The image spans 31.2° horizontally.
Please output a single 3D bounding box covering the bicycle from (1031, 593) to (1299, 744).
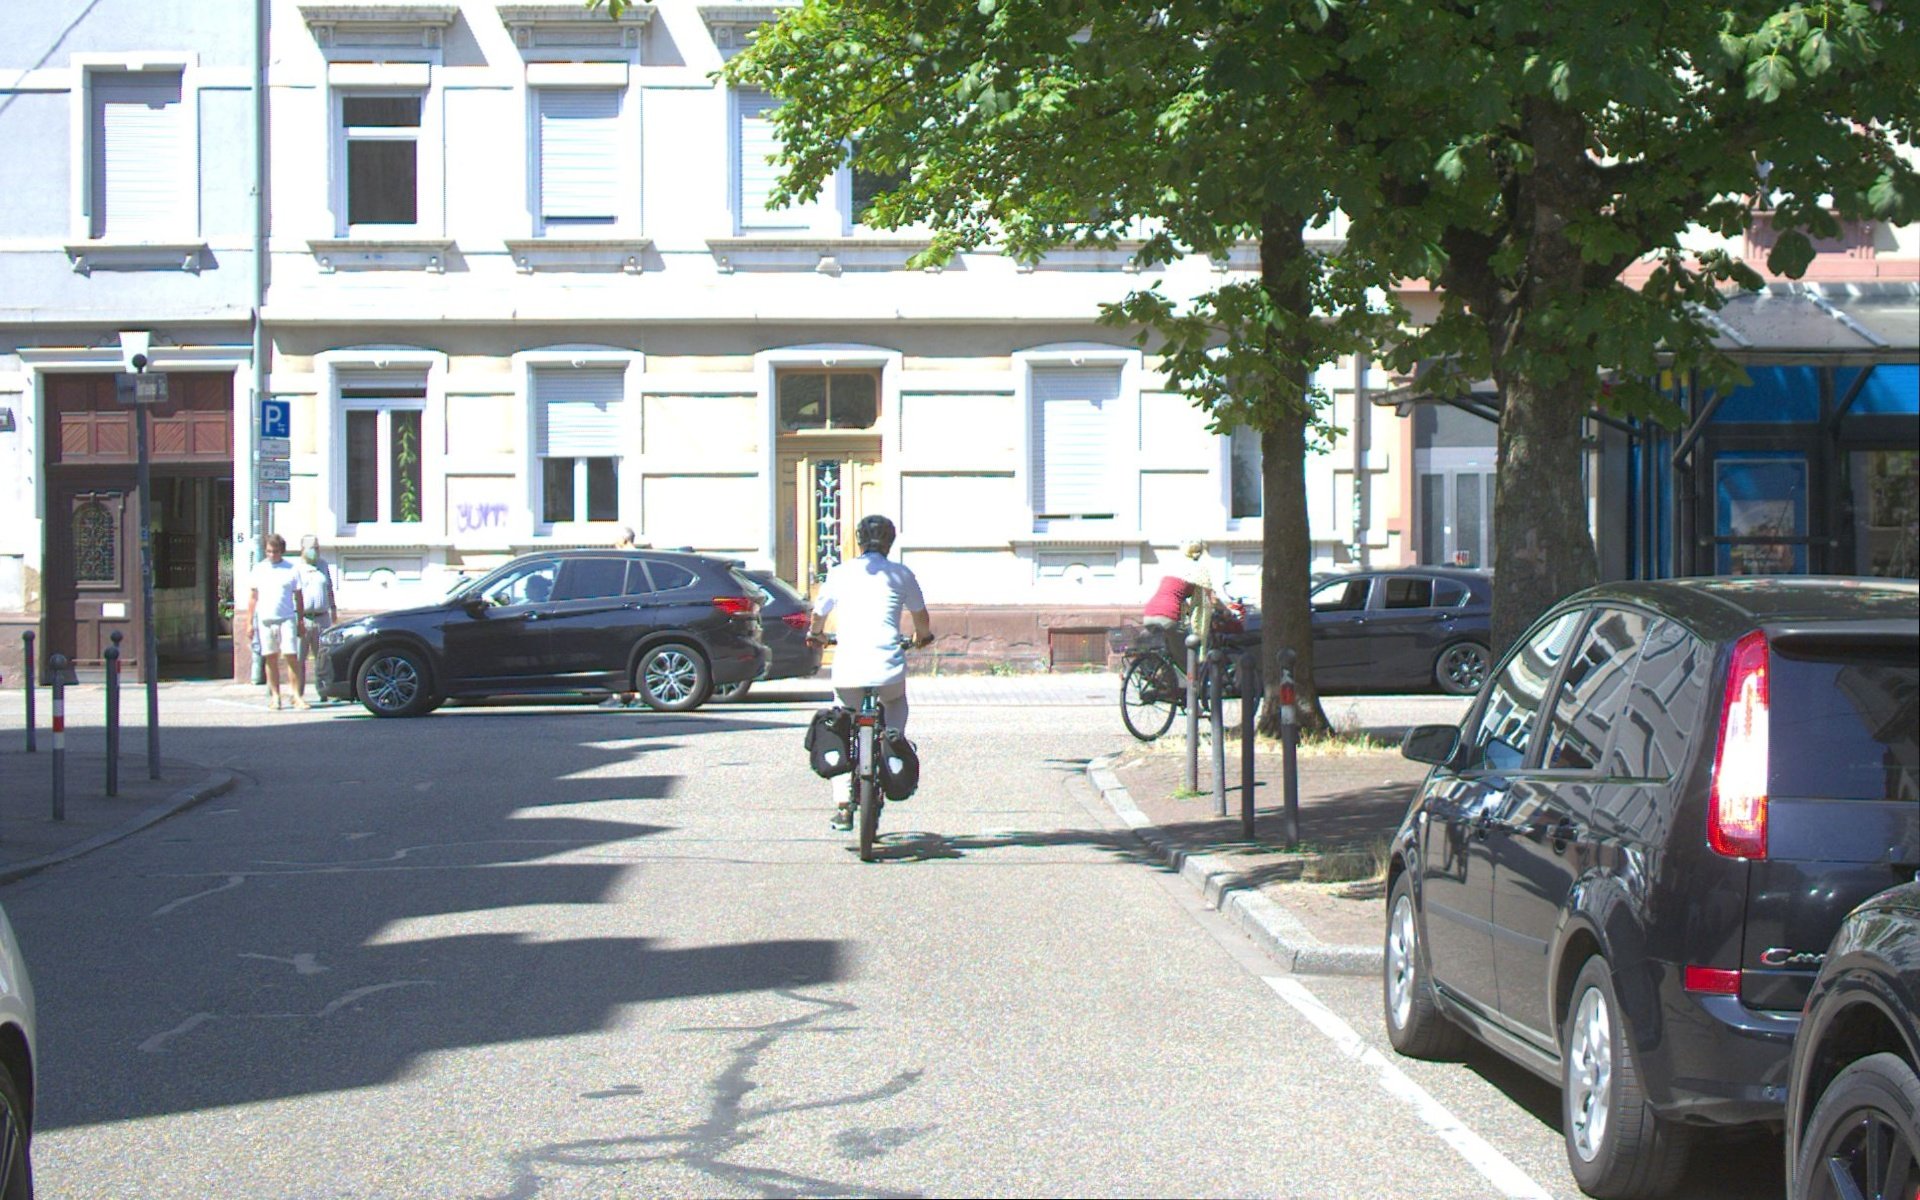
[{"bbox_3d":[1.727,0.562,28.622,2.434,1.205,0.653,1,0,-41],"label":"bicycle"}]

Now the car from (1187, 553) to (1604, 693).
[{"bbox_3d":[4.734,0.231,37.772,4.293,1.365,1.807,-1,3,-2],"label":"car"}]

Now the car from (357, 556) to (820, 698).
[{"bbox_3d":[-3.966,0.275,37.357,4.859,1.432,2.000,-1,0,-2],"label":"car"}]

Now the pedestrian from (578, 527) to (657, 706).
[{"bbox_3d":[-3.590,0.167,36.028,0.724,1.847,0.685,-1,0,-12],"label":"pedestrian"}]

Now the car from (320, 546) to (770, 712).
[{"bbox_3d":[-3.996,0.267,33.659,4.223,1.514,1.807,-1,0,-2],"label":"car"}]

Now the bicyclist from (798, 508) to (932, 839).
[{"bbox_3d":[-0.515,0.393,18.710,0.670,1.754,0.609,2,0,-1],"label":"bicyclist"}]

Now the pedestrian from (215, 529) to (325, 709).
[{"bbox_3d":[-7.334,0.194,36.576,0.850,1.882,0.935,-1,0,8],"label":"pedestrian"}]

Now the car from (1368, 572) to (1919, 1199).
[{"bbox_3d":[2.331,0.719,9.783,1.663,1.535,4.178,2,1,-2],"label":"car"}]

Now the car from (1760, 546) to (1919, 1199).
[{"bbox_3d":[2.551,0.748,4.375,1.735,1.591,4.348,2,1,-4],"label":"car"}]

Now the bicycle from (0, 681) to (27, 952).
[{"bbox_3d":[-5.012,0.870,14.545,1.971,1.126,0.395,3,0,-6],"label":"bicycle"}]

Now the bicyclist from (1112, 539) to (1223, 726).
[{"bbox_3d":[1.729,0.262,28.605,0.608,1.528,0.672,-1,0,-42],"label":"bicyclist"}]

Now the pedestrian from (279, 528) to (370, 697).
[{"bbox_3d":[-6.930,0.129,37.519,0.901,1.808,0.960,-1,0,-7],"label":"pedestrian"}]

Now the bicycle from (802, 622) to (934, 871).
[{"bbox_3d":[-0.504,0.757,18.804,0.652,1.224,2.441,1,0,-2],"label":"bicycle"}]

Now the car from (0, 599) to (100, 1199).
[{"bbox_3d":[-2.572,0.782,4.680,1.841,1.456,4.363,-2,1,-2],"label":"car"}]
